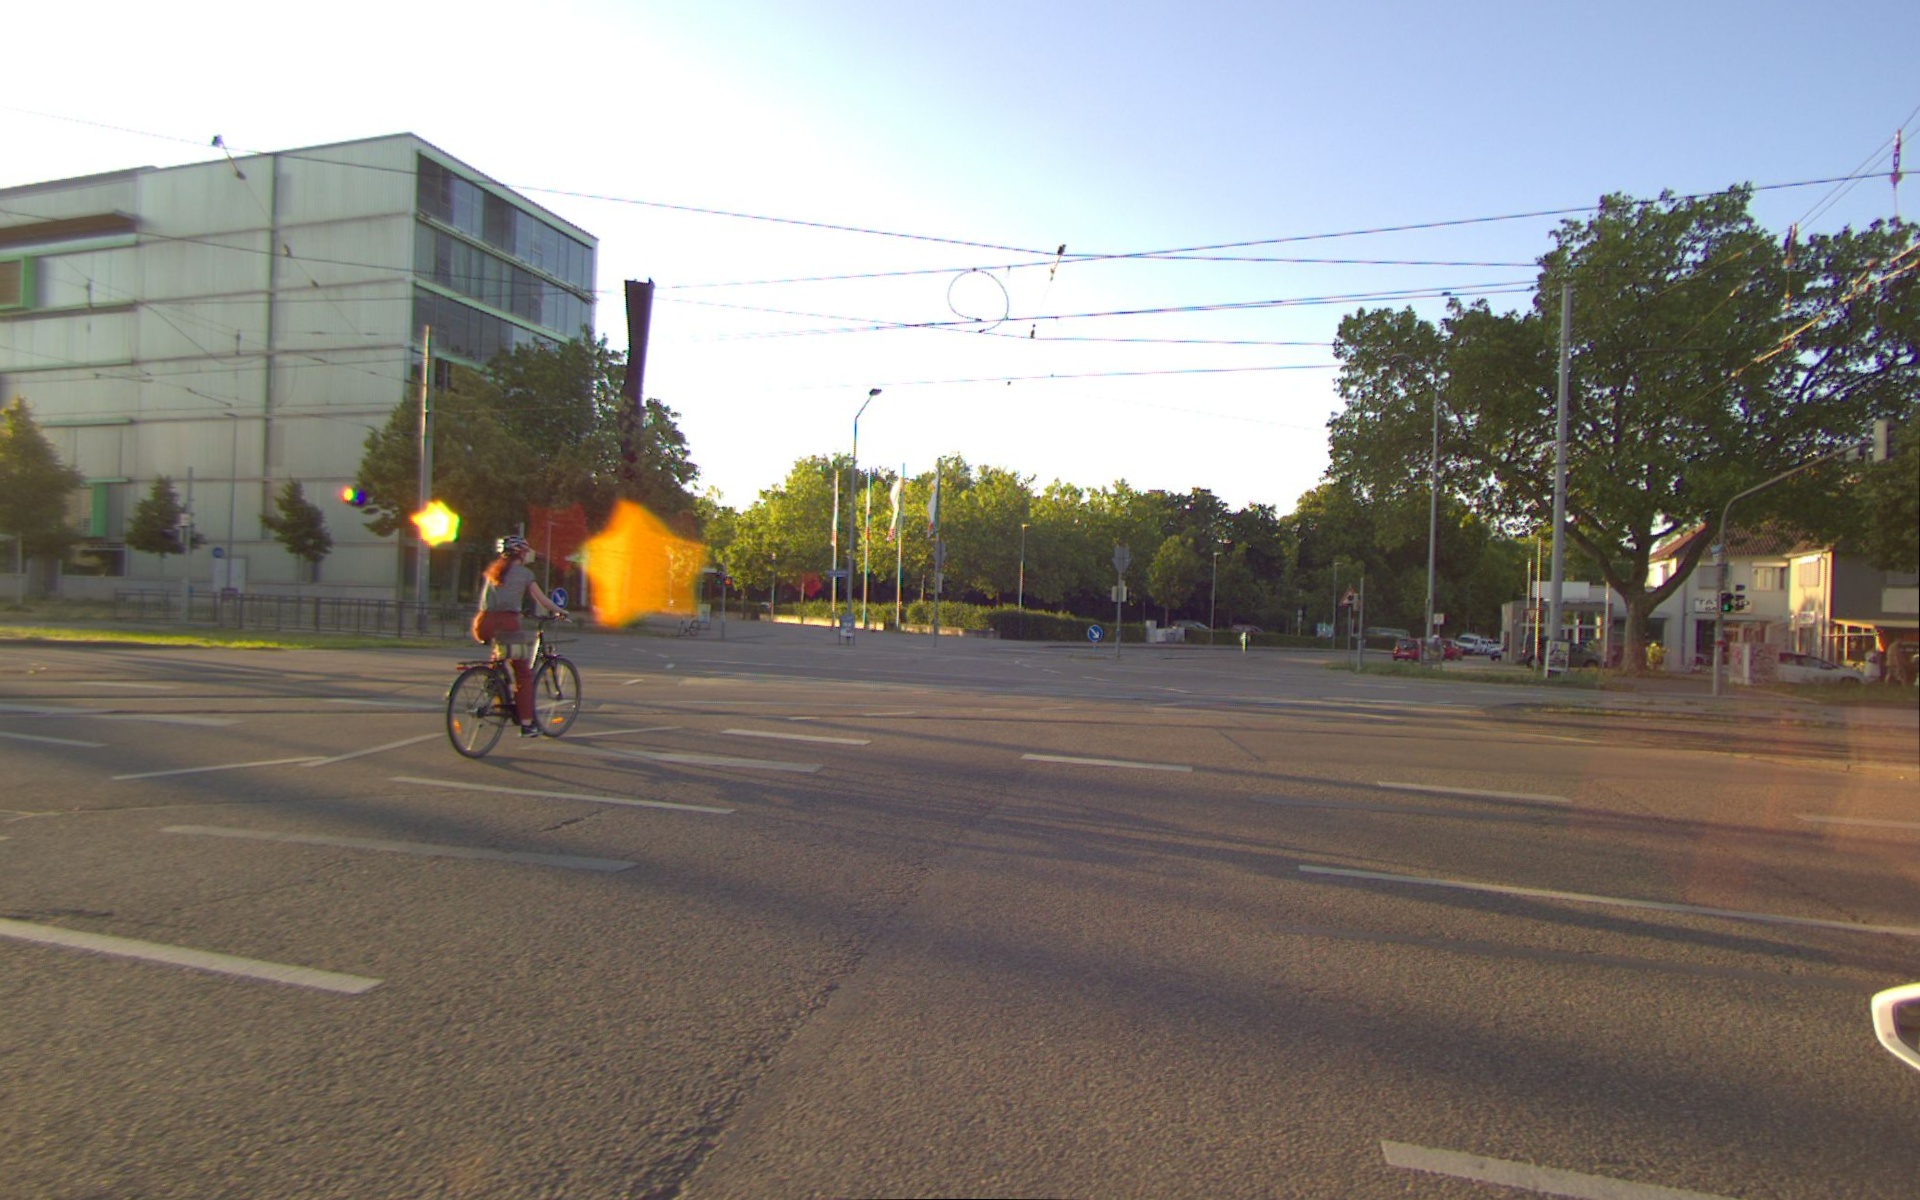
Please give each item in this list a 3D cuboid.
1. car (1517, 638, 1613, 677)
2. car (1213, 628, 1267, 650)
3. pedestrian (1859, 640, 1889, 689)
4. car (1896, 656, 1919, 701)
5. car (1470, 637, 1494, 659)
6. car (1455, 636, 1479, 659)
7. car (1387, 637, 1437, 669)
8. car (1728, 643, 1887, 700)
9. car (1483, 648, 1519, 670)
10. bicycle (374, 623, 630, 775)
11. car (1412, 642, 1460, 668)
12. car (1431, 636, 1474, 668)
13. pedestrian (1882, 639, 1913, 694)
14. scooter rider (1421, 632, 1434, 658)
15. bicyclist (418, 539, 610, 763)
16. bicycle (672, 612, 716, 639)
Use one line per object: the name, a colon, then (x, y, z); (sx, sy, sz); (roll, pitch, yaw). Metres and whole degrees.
car: (33.256, 3.139, 55.358); (4.308, 1.859, 1.947); (2, -1, 25)
car: (22.641, 3.104, 81.177); (3.922, 1.581, 2.000); (2, -1, 21)
pedestrian: (31.947, 2.244, 35.111); (0.711, 1.660, 0.892); (1, -1, 44)
car: (36.818, 2.921, 36.112); (4.162, 1.598, 2.000); (2, -1, 22)
car: (51.175, 4.709, 98.606); (1.963, 2.040, 3.996); (2, -1, 26)
car: (47.868, 4.433, 94.917); (1.963, 2.040, 3.996); (2, -1, 26)
car: (28.926, 3.361, 64.201); (1.846, 1.899, 3.856); (2, -1, 40)
car: (32.108, 2.667, 38.219); (4.162, 1.871, 2.000); (2, -1, 22)
car: (42.858, 4.662, 79.603); (1.891, 1.624, 3.985); (2, -1, 37)
bicycle: (-3.735, 0.758, 8.441); (0.624, 1.082, 2.122); (2, -1, 19)
car: (31.836, 3.683, 67.089); (1.969, 1.595, 3.983); (2, -1, 39)
car: (34.452, 3.605, 70.199); (1.891, 2.074, 3.985); (2, -1, 37)
pedestrian: (31.602, 2.238, 33.852); (0.711, 1.777, 0.892); (1, -1, 44)
scooter rider: (34.445, 3.341, 74.003); (0.690, 1.879, 0.669); (2, -2, 19)
bicyclist: (-3.741, 0.405, 8.489); (1.014, 1.740, 0.996); (2, -1, 19)
bicycle: (-11.770, 1.134, 44.530); (0.687, 1.151, 2.394); (2, -1, 17)
